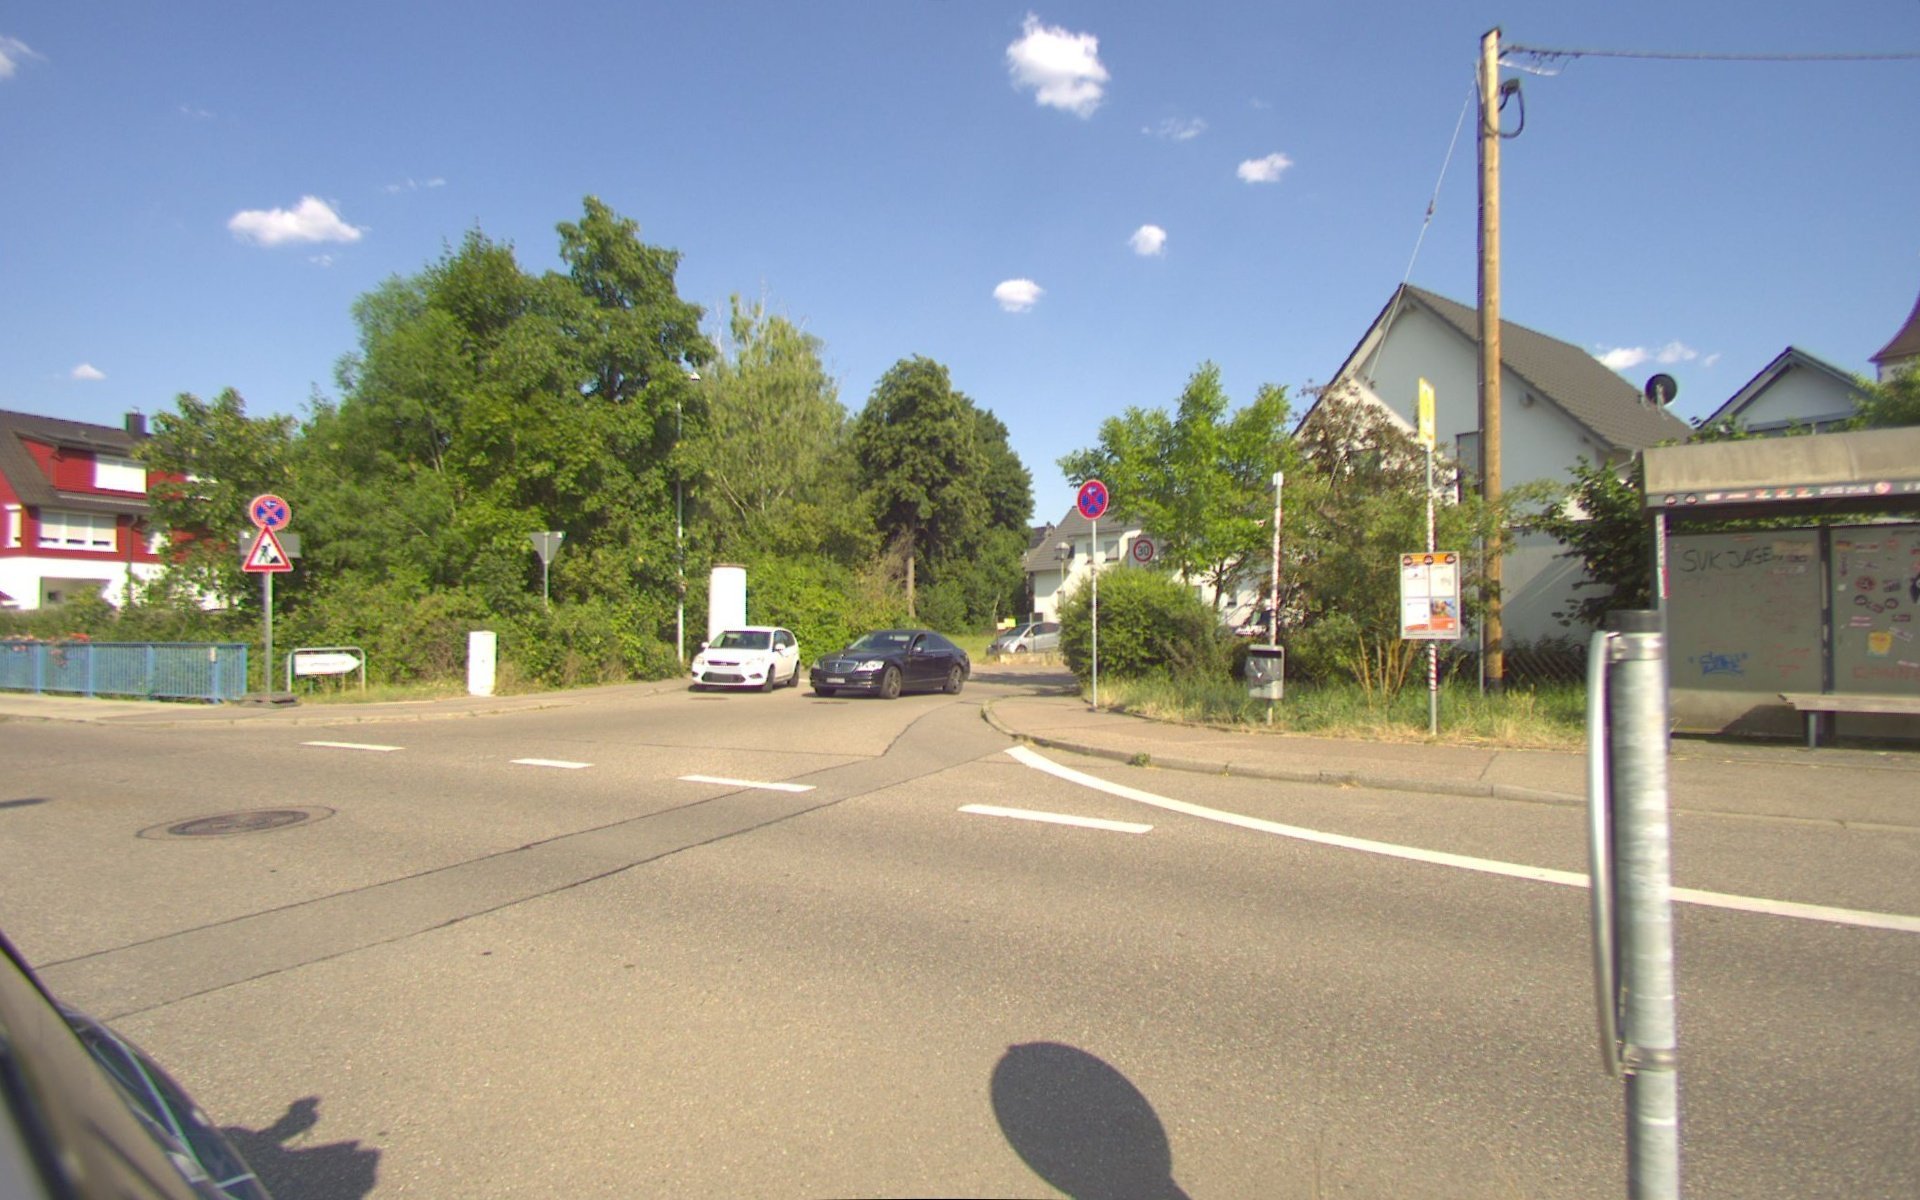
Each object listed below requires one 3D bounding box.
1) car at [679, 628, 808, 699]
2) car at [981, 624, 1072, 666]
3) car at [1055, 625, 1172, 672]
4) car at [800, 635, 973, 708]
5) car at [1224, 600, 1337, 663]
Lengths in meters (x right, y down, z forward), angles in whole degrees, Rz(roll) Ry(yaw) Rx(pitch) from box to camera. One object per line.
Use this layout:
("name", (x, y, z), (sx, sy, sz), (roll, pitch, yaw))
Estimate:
("car", (-4.949, 1.426, 23.752), (1.838, 1.503, 4.269), (0, -2, 4))
("car", (2.840, 1.866, 42.359), (1.770, 1.672, 3.987), (-1, -3, 41))
("car", (6.041, 1.843, 39.526), (4.518, 1.701, 2.120), (1, -2, -42))
("car", (-1.494, 1.507, 22.673), (1.761, 1.442, 4.803), (-1, -2, 25))
("car", (14.529, 1.432, 45.789), (5.523, 2.698, 2.119), (2, -3, -38))
